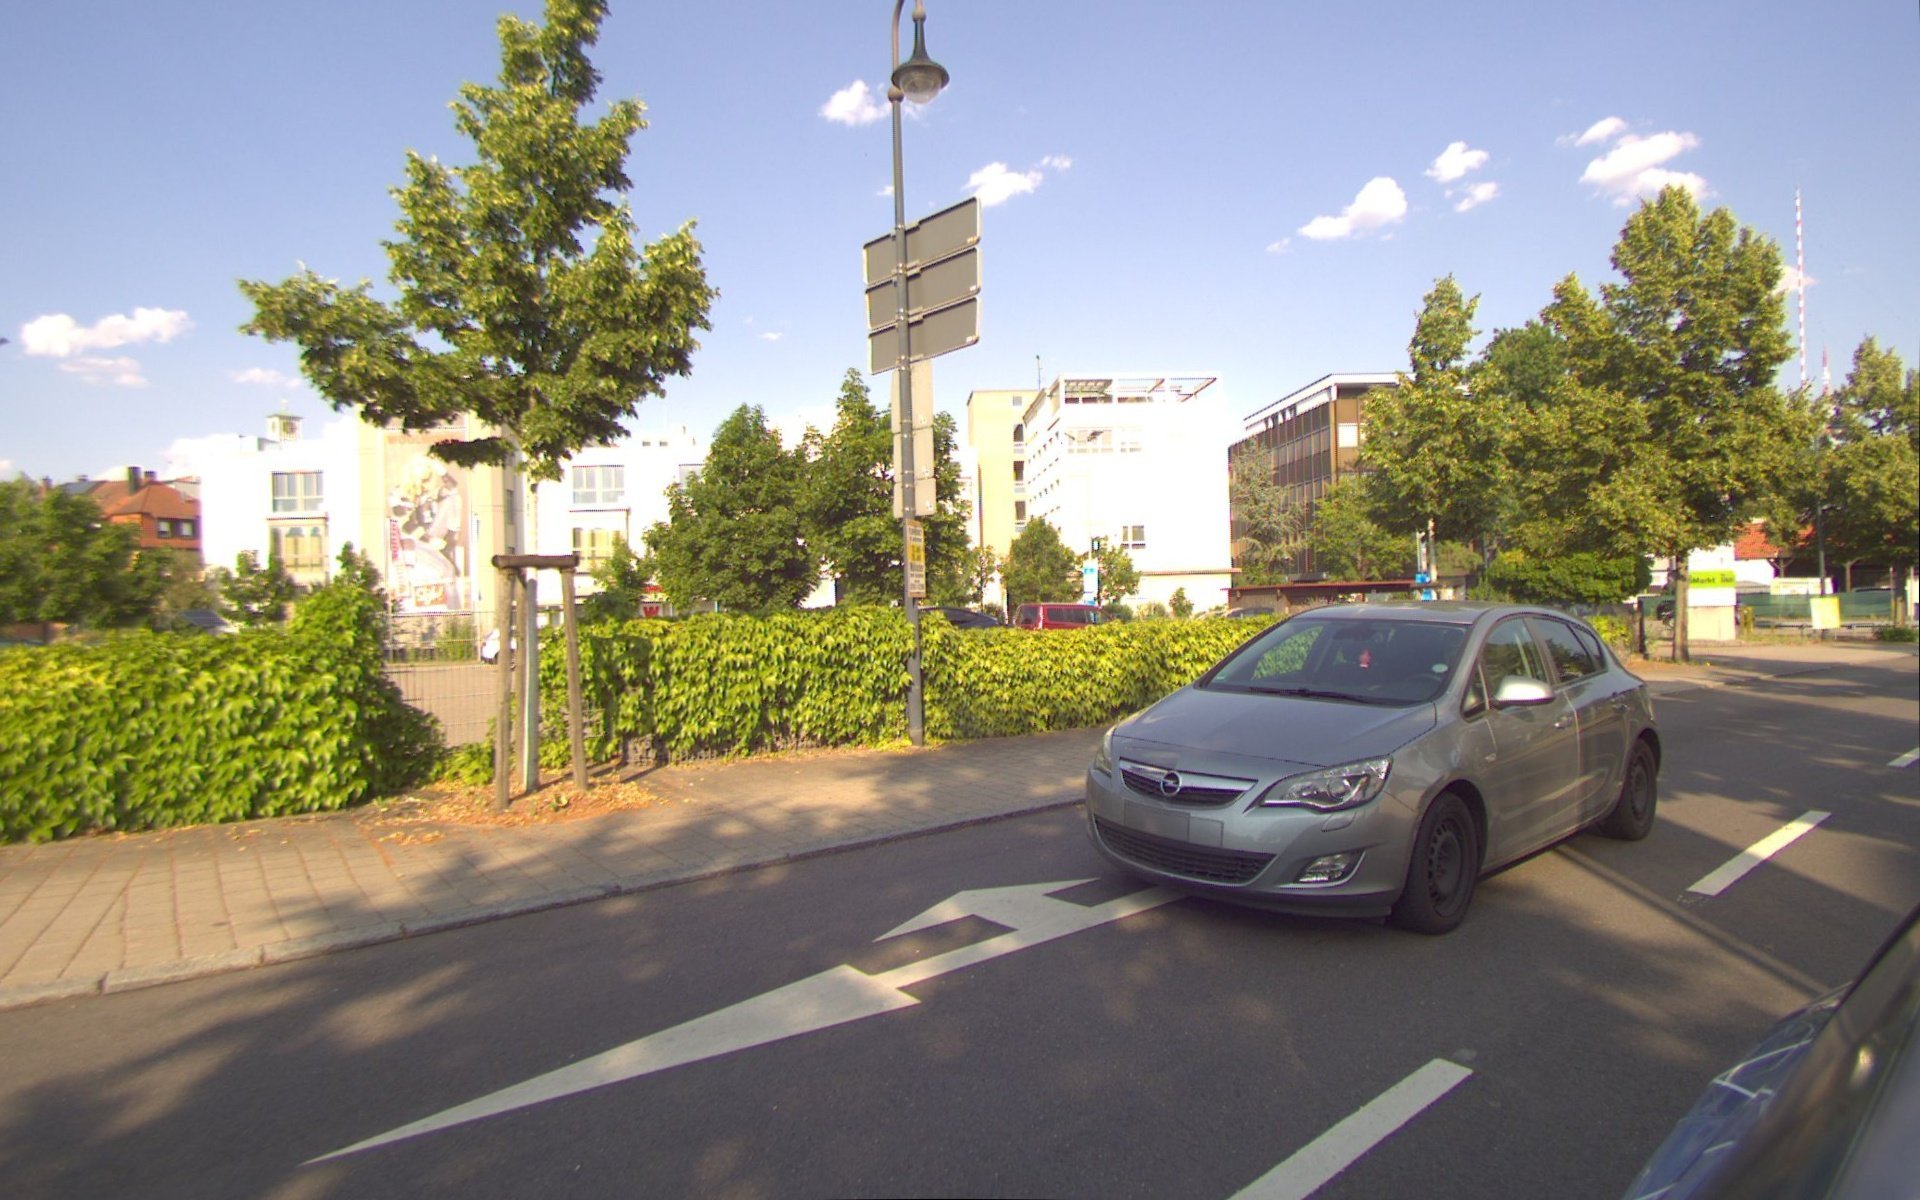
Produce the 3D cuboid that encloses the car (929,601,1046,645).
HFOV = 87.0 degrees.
[{"bbox_3d":[1.146,0.915,41.676,4.460,1.669,2.000,-1,-1,-34],"label":"car"}]

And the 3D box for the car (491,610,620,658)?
[{"bbox_3d":[-15.438,1.262,38.658,4.453,1.669,2.003,-1,-1,-24],"label":"car"}]

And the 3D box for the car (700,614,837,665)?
[{"bbox_3d":[-6.172,1.224,32.688,3.877,1.462,2.000,-1,-1,-35],"label":"car"}]

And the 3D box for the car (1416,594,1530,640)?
[{"bbox_3d":[17.924,0.575,35.349,3.787,1.481,1.660,-1,-1,-28],"label":"car"}]

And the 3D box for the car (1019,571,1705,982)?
[{"bbox_3d":[2.485,0.648,5.714,4.227,1.509,1.725,0,0,-38],"label":"car"}]

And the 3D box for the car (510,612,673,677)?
[{"bbox_3d":[-10.770,1.273,29.618,4.228,1.746,1.896,0,-3,-29],"label":"car"}]

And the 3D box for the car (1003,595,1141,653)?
[{"bbox_3d":[3.955,0.792,35.373,4.558,1.878,2.000,-1,-1,-34],"label":"car"}]

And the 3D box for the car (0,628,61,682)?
[{"bbox_3d":[-31.252,1.757,31.988,3.921,1.649,2.001,-1,0,-31],"label":"car"}]

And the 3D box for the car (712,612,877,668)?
[{"bbox_3d":[-4.909,1.140,30.291,4.461,1.462,2.000,-1,-1,-35],"label":"car"}]

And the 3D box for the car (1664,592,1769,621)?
[{"bbox_3d":[39.615,0.374,53.084,1.899,1.438,4.004,-1,-1,-28],"label":"car"}]

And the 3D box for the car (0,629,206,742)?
[{"bbox_3d":[-14.478,1.295,15.629,4.461,1.559,2.000,-1,-1,-35],"label":"car"}]

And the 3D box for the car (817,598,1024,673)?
[{"bbox_3d":[-0.891,0.803,23.783,4.461,1.551,1.999,-1,-2,-35],"label":"car"}]
